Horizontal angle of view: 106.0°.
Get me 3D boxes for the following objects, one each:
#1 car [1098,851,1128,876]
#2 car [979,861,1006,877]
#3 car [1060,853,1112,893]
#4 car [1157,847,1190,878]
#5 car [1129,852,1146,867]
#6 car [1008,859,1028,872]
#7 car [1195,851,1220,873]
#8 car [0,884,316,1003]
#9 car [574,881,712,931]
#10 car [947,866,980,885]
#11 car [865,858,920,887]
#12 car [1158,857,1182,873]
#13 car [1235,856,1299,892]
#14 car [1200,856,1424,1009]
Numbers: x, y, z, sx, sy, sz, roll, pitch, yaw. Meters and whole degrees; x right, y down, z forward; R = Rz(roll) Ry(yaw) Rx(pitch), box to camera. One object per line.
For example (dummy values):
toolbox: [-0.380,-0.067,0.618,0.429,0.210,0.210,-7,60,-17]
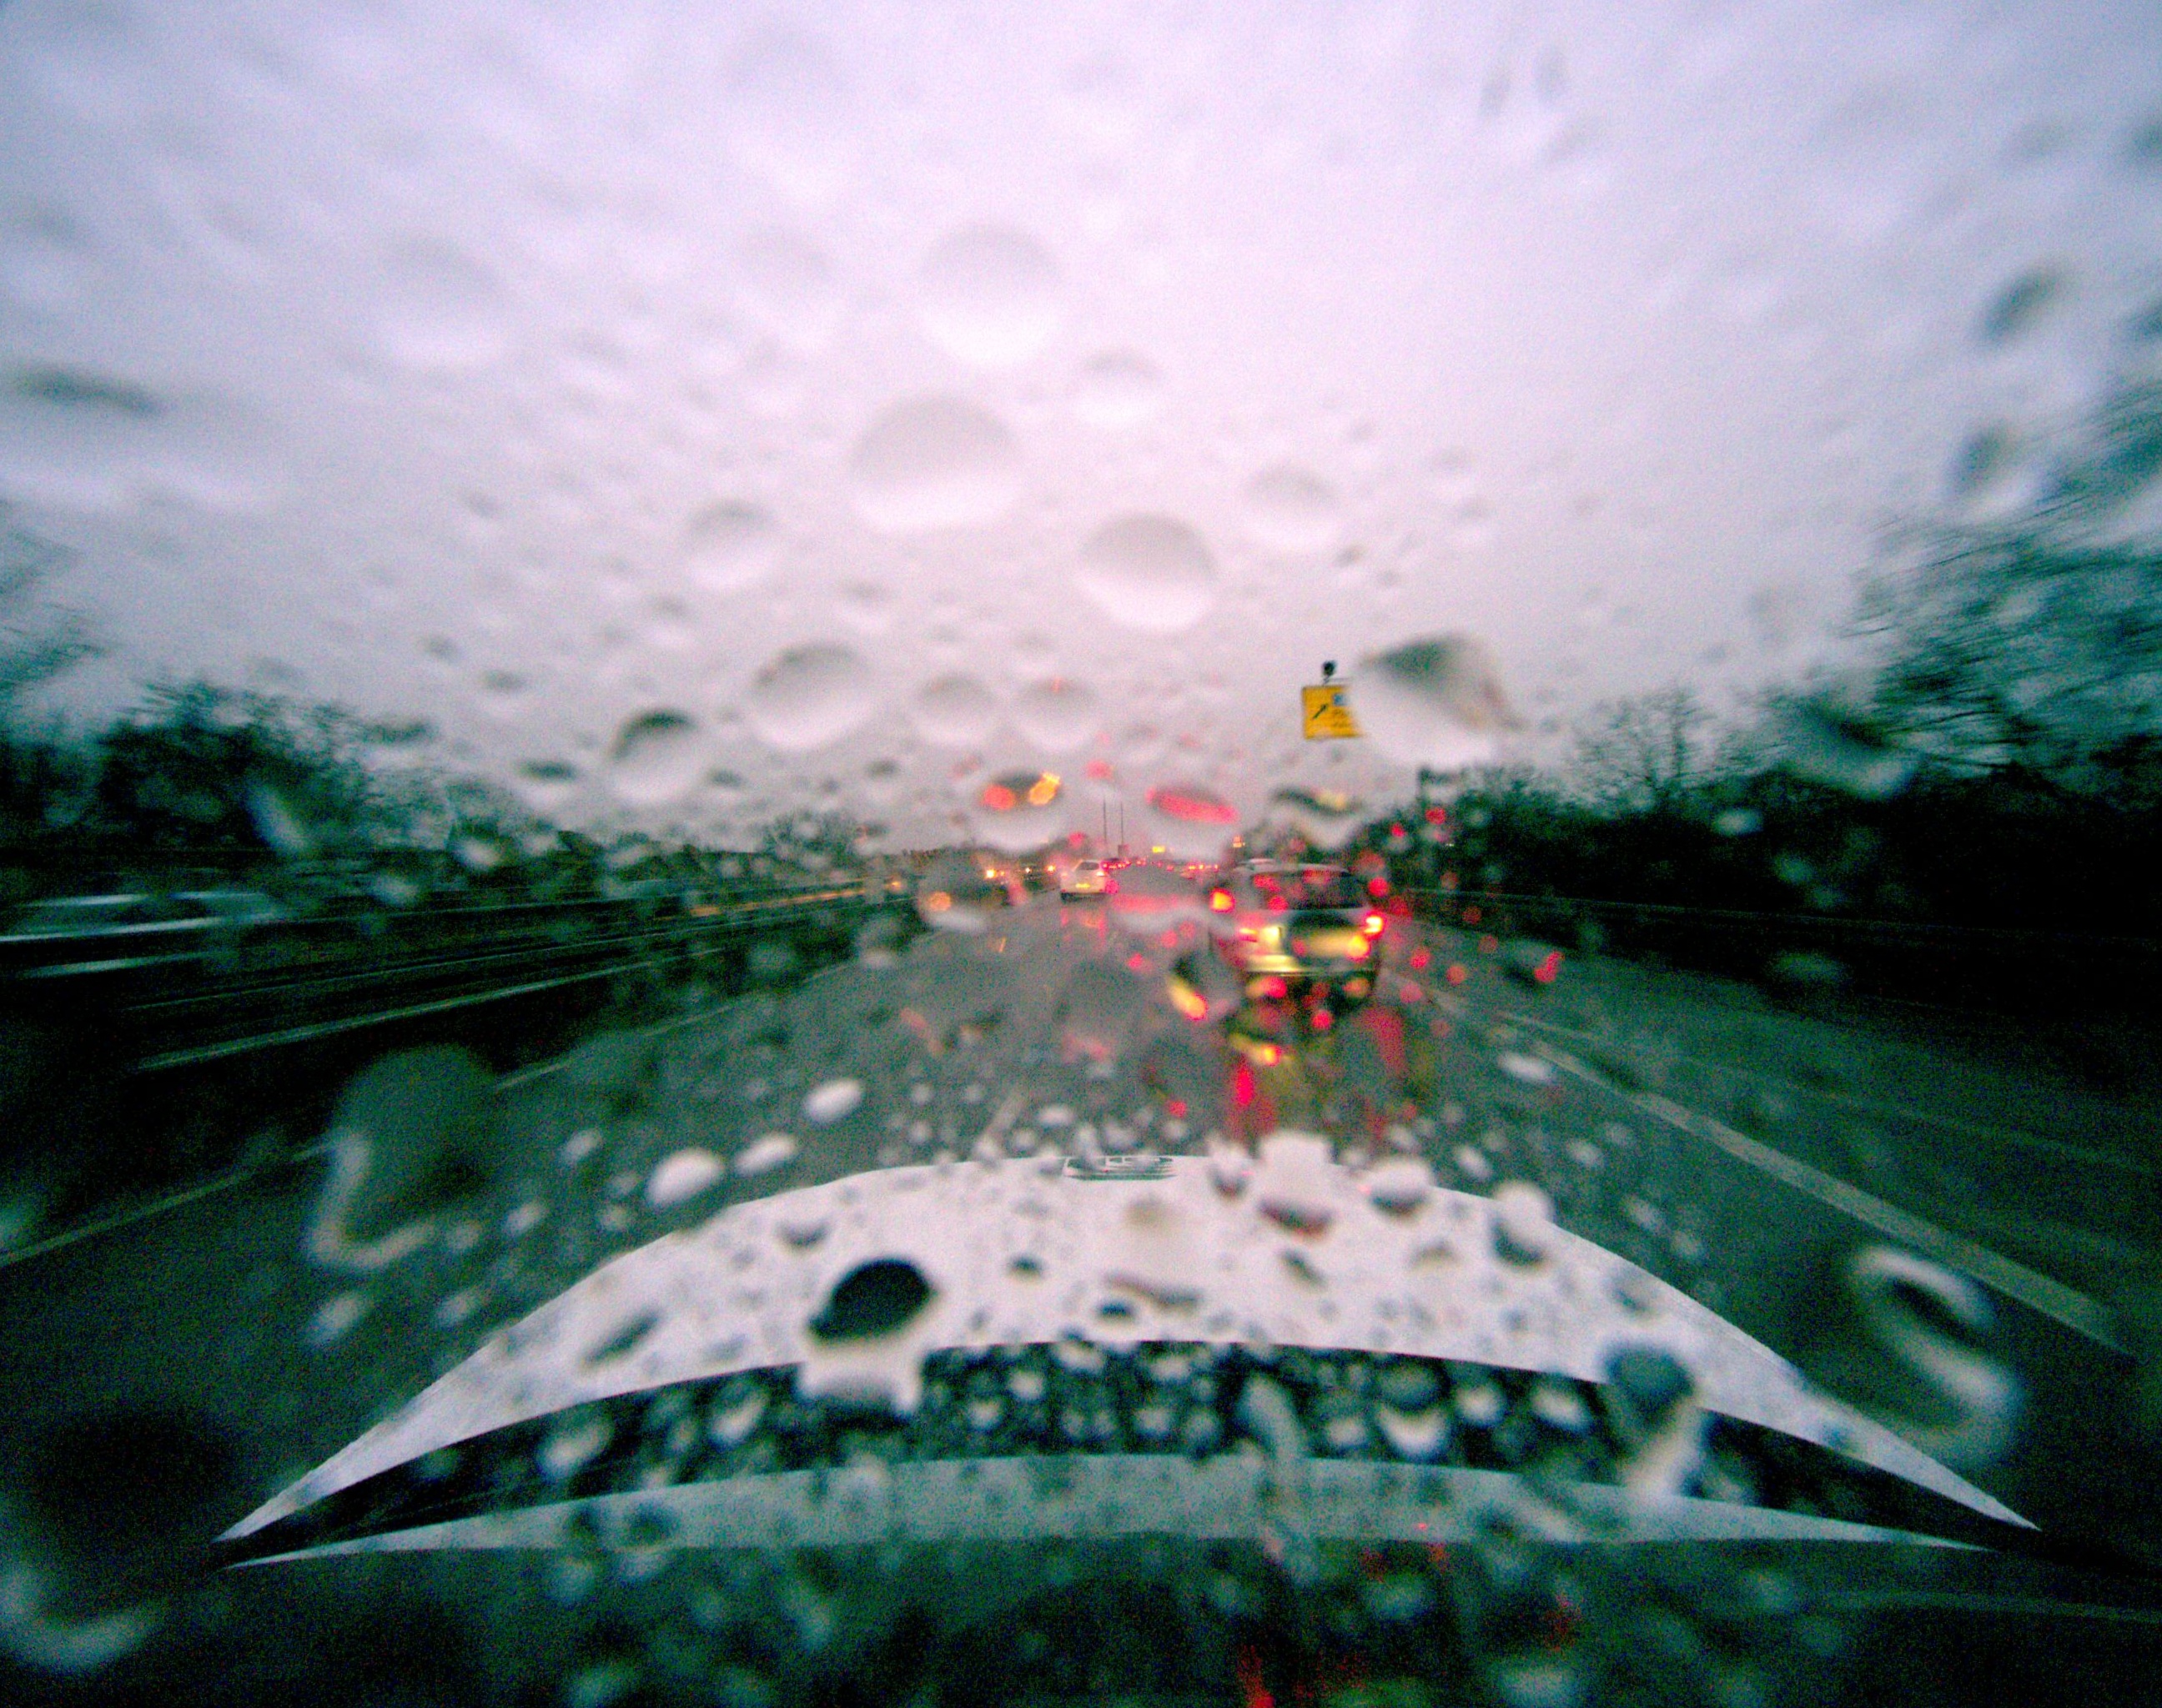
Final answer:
car: [2.149,0.638,55.517,1.986,1.601,4.309,0,0,1]
car: [-9.045,1.545,83.443,1.886,1.464,4.834,-2,0,4]
car: [0.255,0.700,32.024,1.716,1.440,4.231,-1,0,4]
car: [5.553,0.490,49.193,1.888,1.767,4.315,-1,0,6]
car: [6.279,0.604,90.409,1.781,1.545,4.006,-1,0,5]
car: [-7.969,1.448,103.159,1.886,1.464,4.003,-2,0,3]
car: [9.873,0.599,63.220,1.778,1.545,4.012,-2,0,10]
car: [-16.010,1.365,13.405,1.826,1.562,4.702,-1,0,15]
car: [-14.958,1.736,28.124,1.774,1.404,4.324,-2,0,12]
car: [-10.124,1.855,70.528,1.886,1.464,4.464,-2,0,4]
car: [-10.831,1.032,47.062,1.778,1.564,4.855,-1,0,3]
car: [8.758,1.064,80.322,1.784,1.545,3.997,-1,0,-2]
car: [7.649,0.793,33.819,1.984,1.345,4.005,-1,0,4]
car: [2.637,0.818,10.336,1.984,1.500,4.143,-2,-1,5]
